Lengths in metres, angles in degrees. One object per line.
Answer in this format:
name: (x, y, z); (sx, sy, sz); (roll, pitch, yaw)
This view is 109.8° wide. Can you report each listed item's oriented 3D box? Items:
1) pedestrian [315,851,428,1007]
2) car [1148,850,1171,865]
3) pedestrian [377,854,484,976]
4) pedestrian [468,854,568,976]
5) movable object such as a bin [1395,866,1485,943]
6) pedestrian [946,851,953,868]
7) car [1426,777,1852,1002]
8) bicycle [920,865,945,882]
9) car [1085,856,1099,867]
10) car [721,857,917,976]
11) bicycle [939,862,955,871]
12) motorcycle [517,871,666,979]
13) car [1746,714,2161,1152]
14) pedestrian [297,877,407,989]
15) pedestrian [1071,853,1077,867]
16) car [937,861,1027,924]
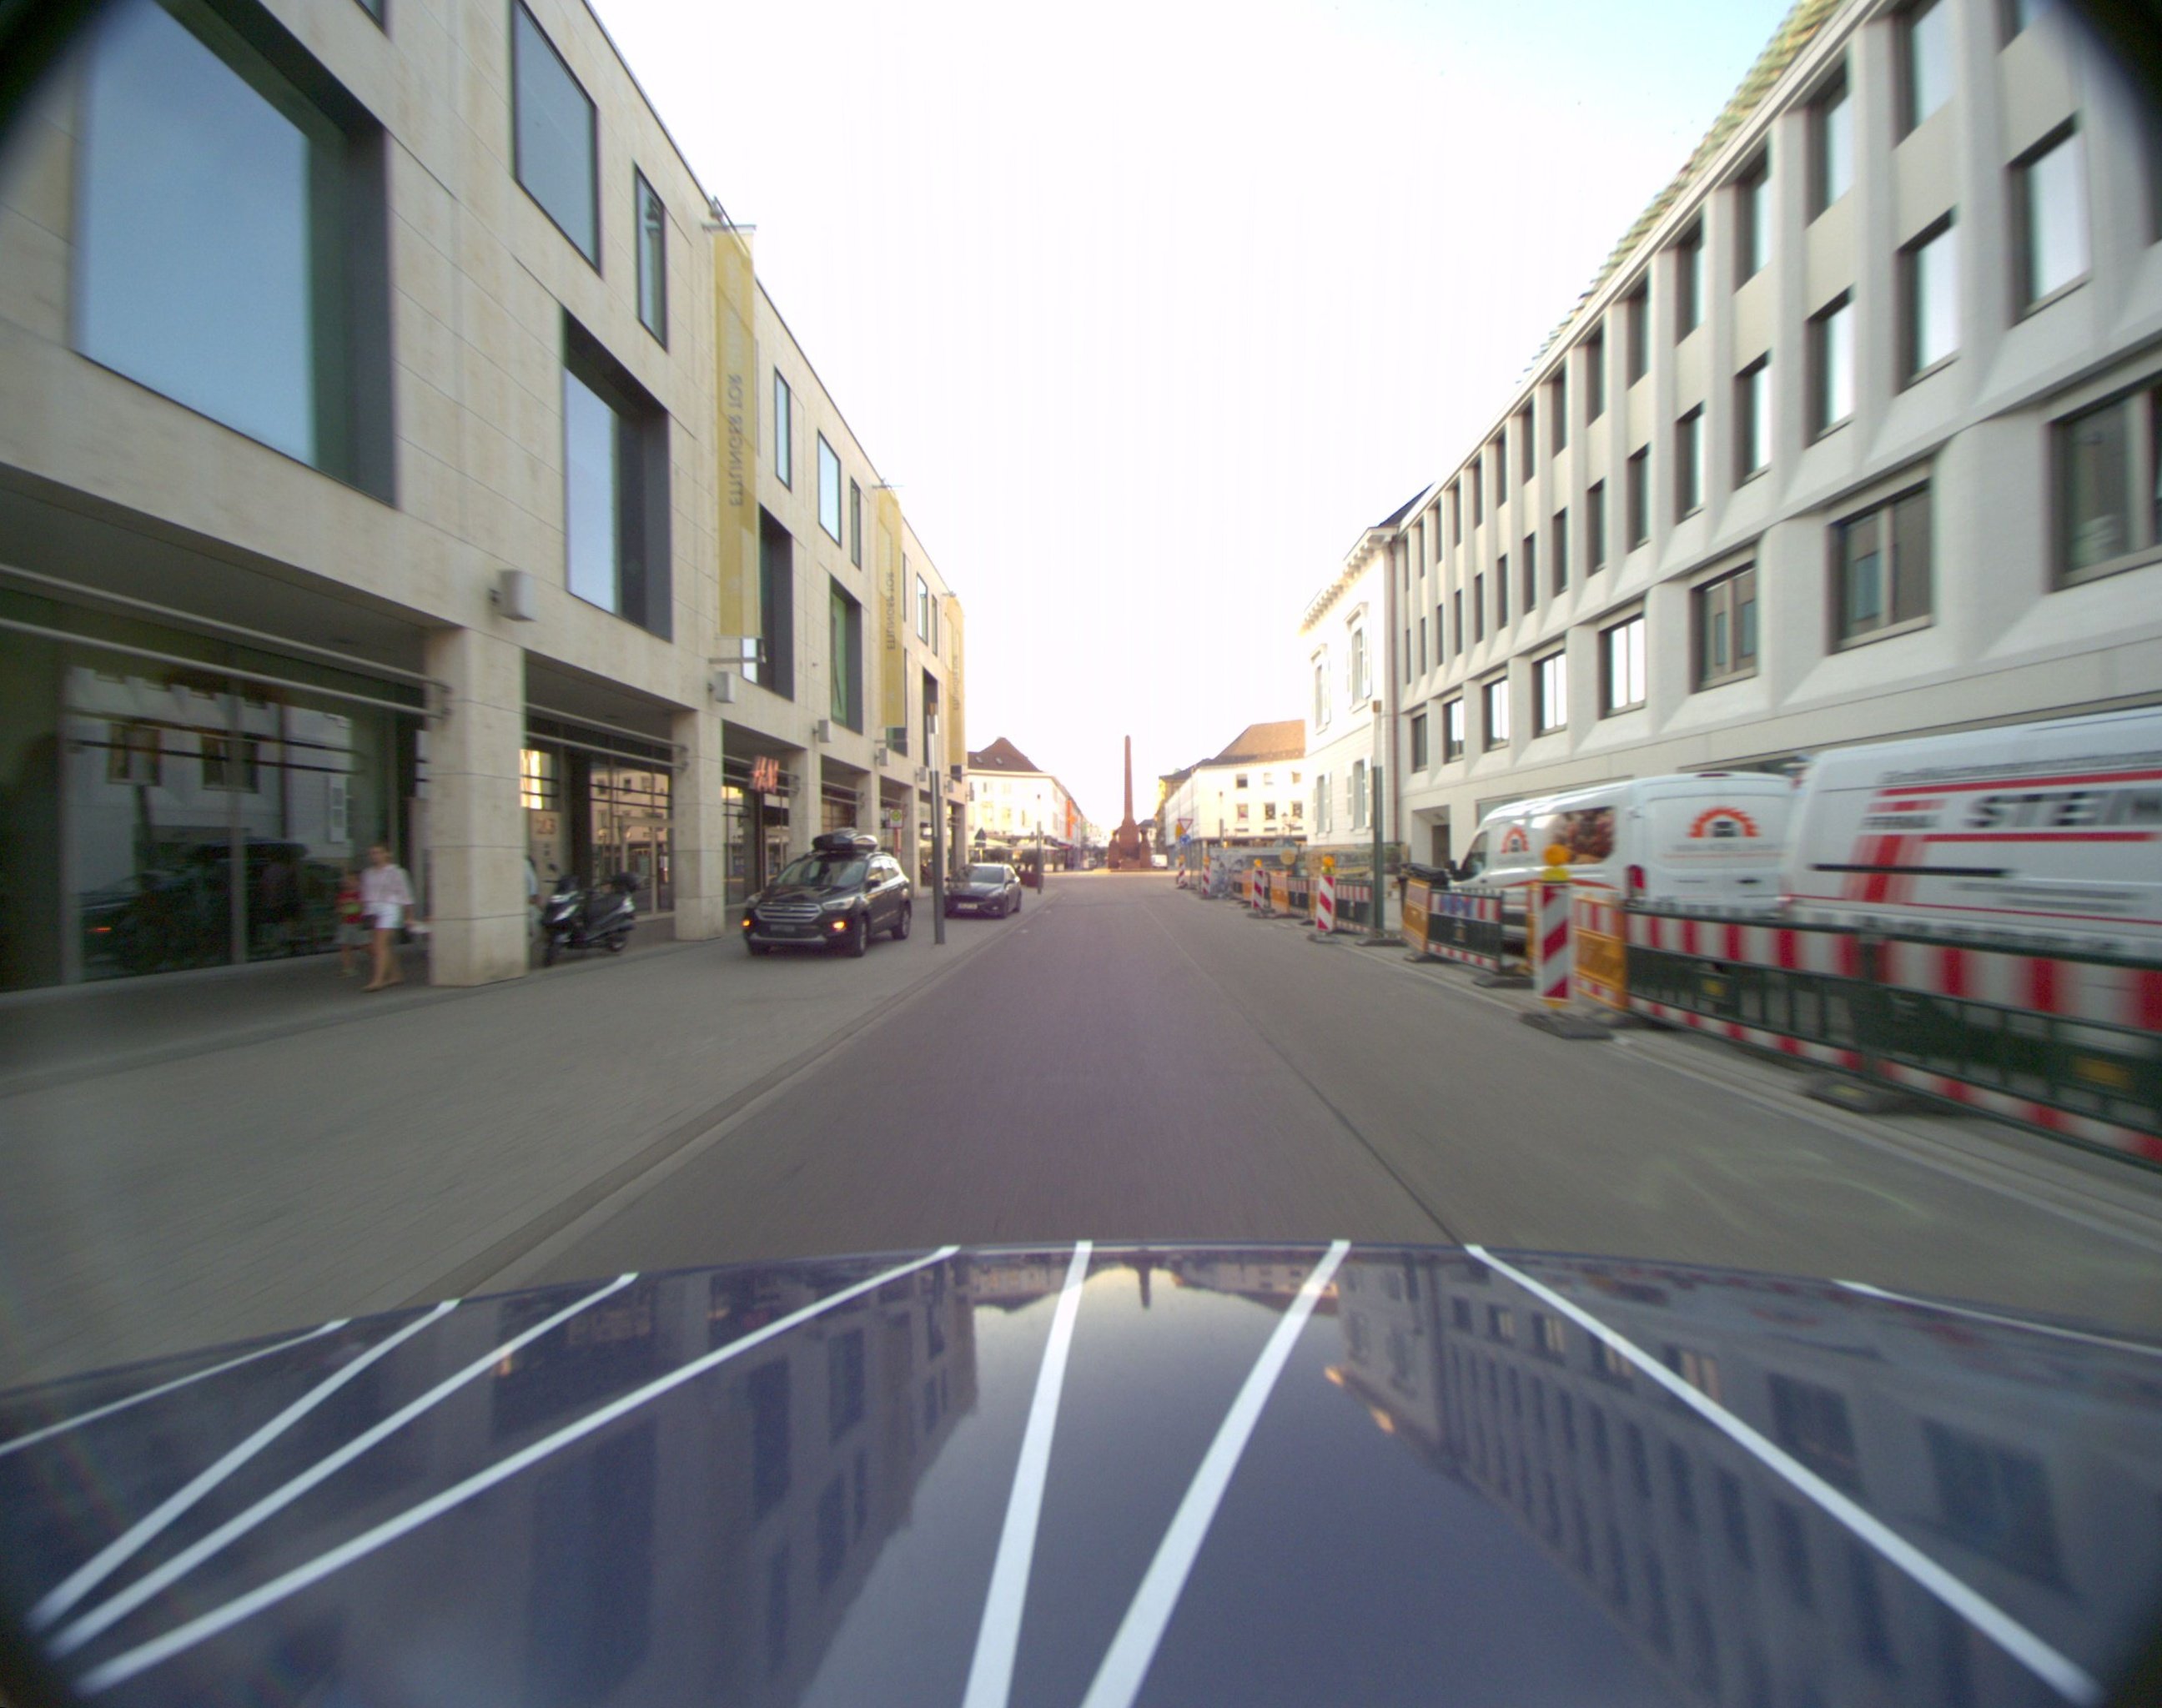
pedestrian: (-8.026, 0.820, 8.623); (0.592, 1.688, 0.696); (-1, 0, 0)
car: (9.776, 0.435, 94.818); (2.021, 1.815, 4.458); (-1, 0, -4)
pedestrian: (-9.256, 0.848, 10.853); (0.766, 1.671, 0.877); (-1, -1, 1)
pedestrian: (-8.042, 0.852, 10.888); (0.766, 1.671, 0.877); (-1, -1, 1)
movable object such as a bin: (7.323, 0.992, 15.562); (1.047, 1.458, 1.392); (-1, 1, -10)
pedestrian: (-13.765, 0.574, 79.537); (0.508, 1.807, 0.719); (-1, 1, 4)
car: (7.544, 0.393, 11.429); (2.178, 2.456, 6.000); (-1, 0, 2)
bicycle: (-10.067, 1.301, 51.628); (0.606, 1.121, 1.910); (-1, -2, 27)
car: (1.509, 1.020, 102.827); (1.781, 1.416, 3.961); (-1, 0, 2)
car: (-4.272, 0.924, 13.125); (1.772, 1.628, 4.057); (2, 1, 2)
bicycle: (-14.024, 1.302, 79.653); (0.473, 0.928, 1.681); (-1, 0, 39)
motorcycle: (-7.224, 0.990, 11.368); (0.694, 1.408, 2.136); (-1, 0, 4)
car: (7.132, 0.427, 3.984); (2.178, 2.456, 5.999); (-1, 0, 2)
pedestrian: (-9.136, 0.967, 9.550); (0.635, 1.337, 0.775); (-1, -1, 2)
pedestrian: (-0.881, 0.776, 94.815); (0.603, 1.691, 0.713); (-1, 1, -3)
car: (-2.702, 1.006, 21.626); (1.799, 1.481, 4.193); (2, 1, 2)
